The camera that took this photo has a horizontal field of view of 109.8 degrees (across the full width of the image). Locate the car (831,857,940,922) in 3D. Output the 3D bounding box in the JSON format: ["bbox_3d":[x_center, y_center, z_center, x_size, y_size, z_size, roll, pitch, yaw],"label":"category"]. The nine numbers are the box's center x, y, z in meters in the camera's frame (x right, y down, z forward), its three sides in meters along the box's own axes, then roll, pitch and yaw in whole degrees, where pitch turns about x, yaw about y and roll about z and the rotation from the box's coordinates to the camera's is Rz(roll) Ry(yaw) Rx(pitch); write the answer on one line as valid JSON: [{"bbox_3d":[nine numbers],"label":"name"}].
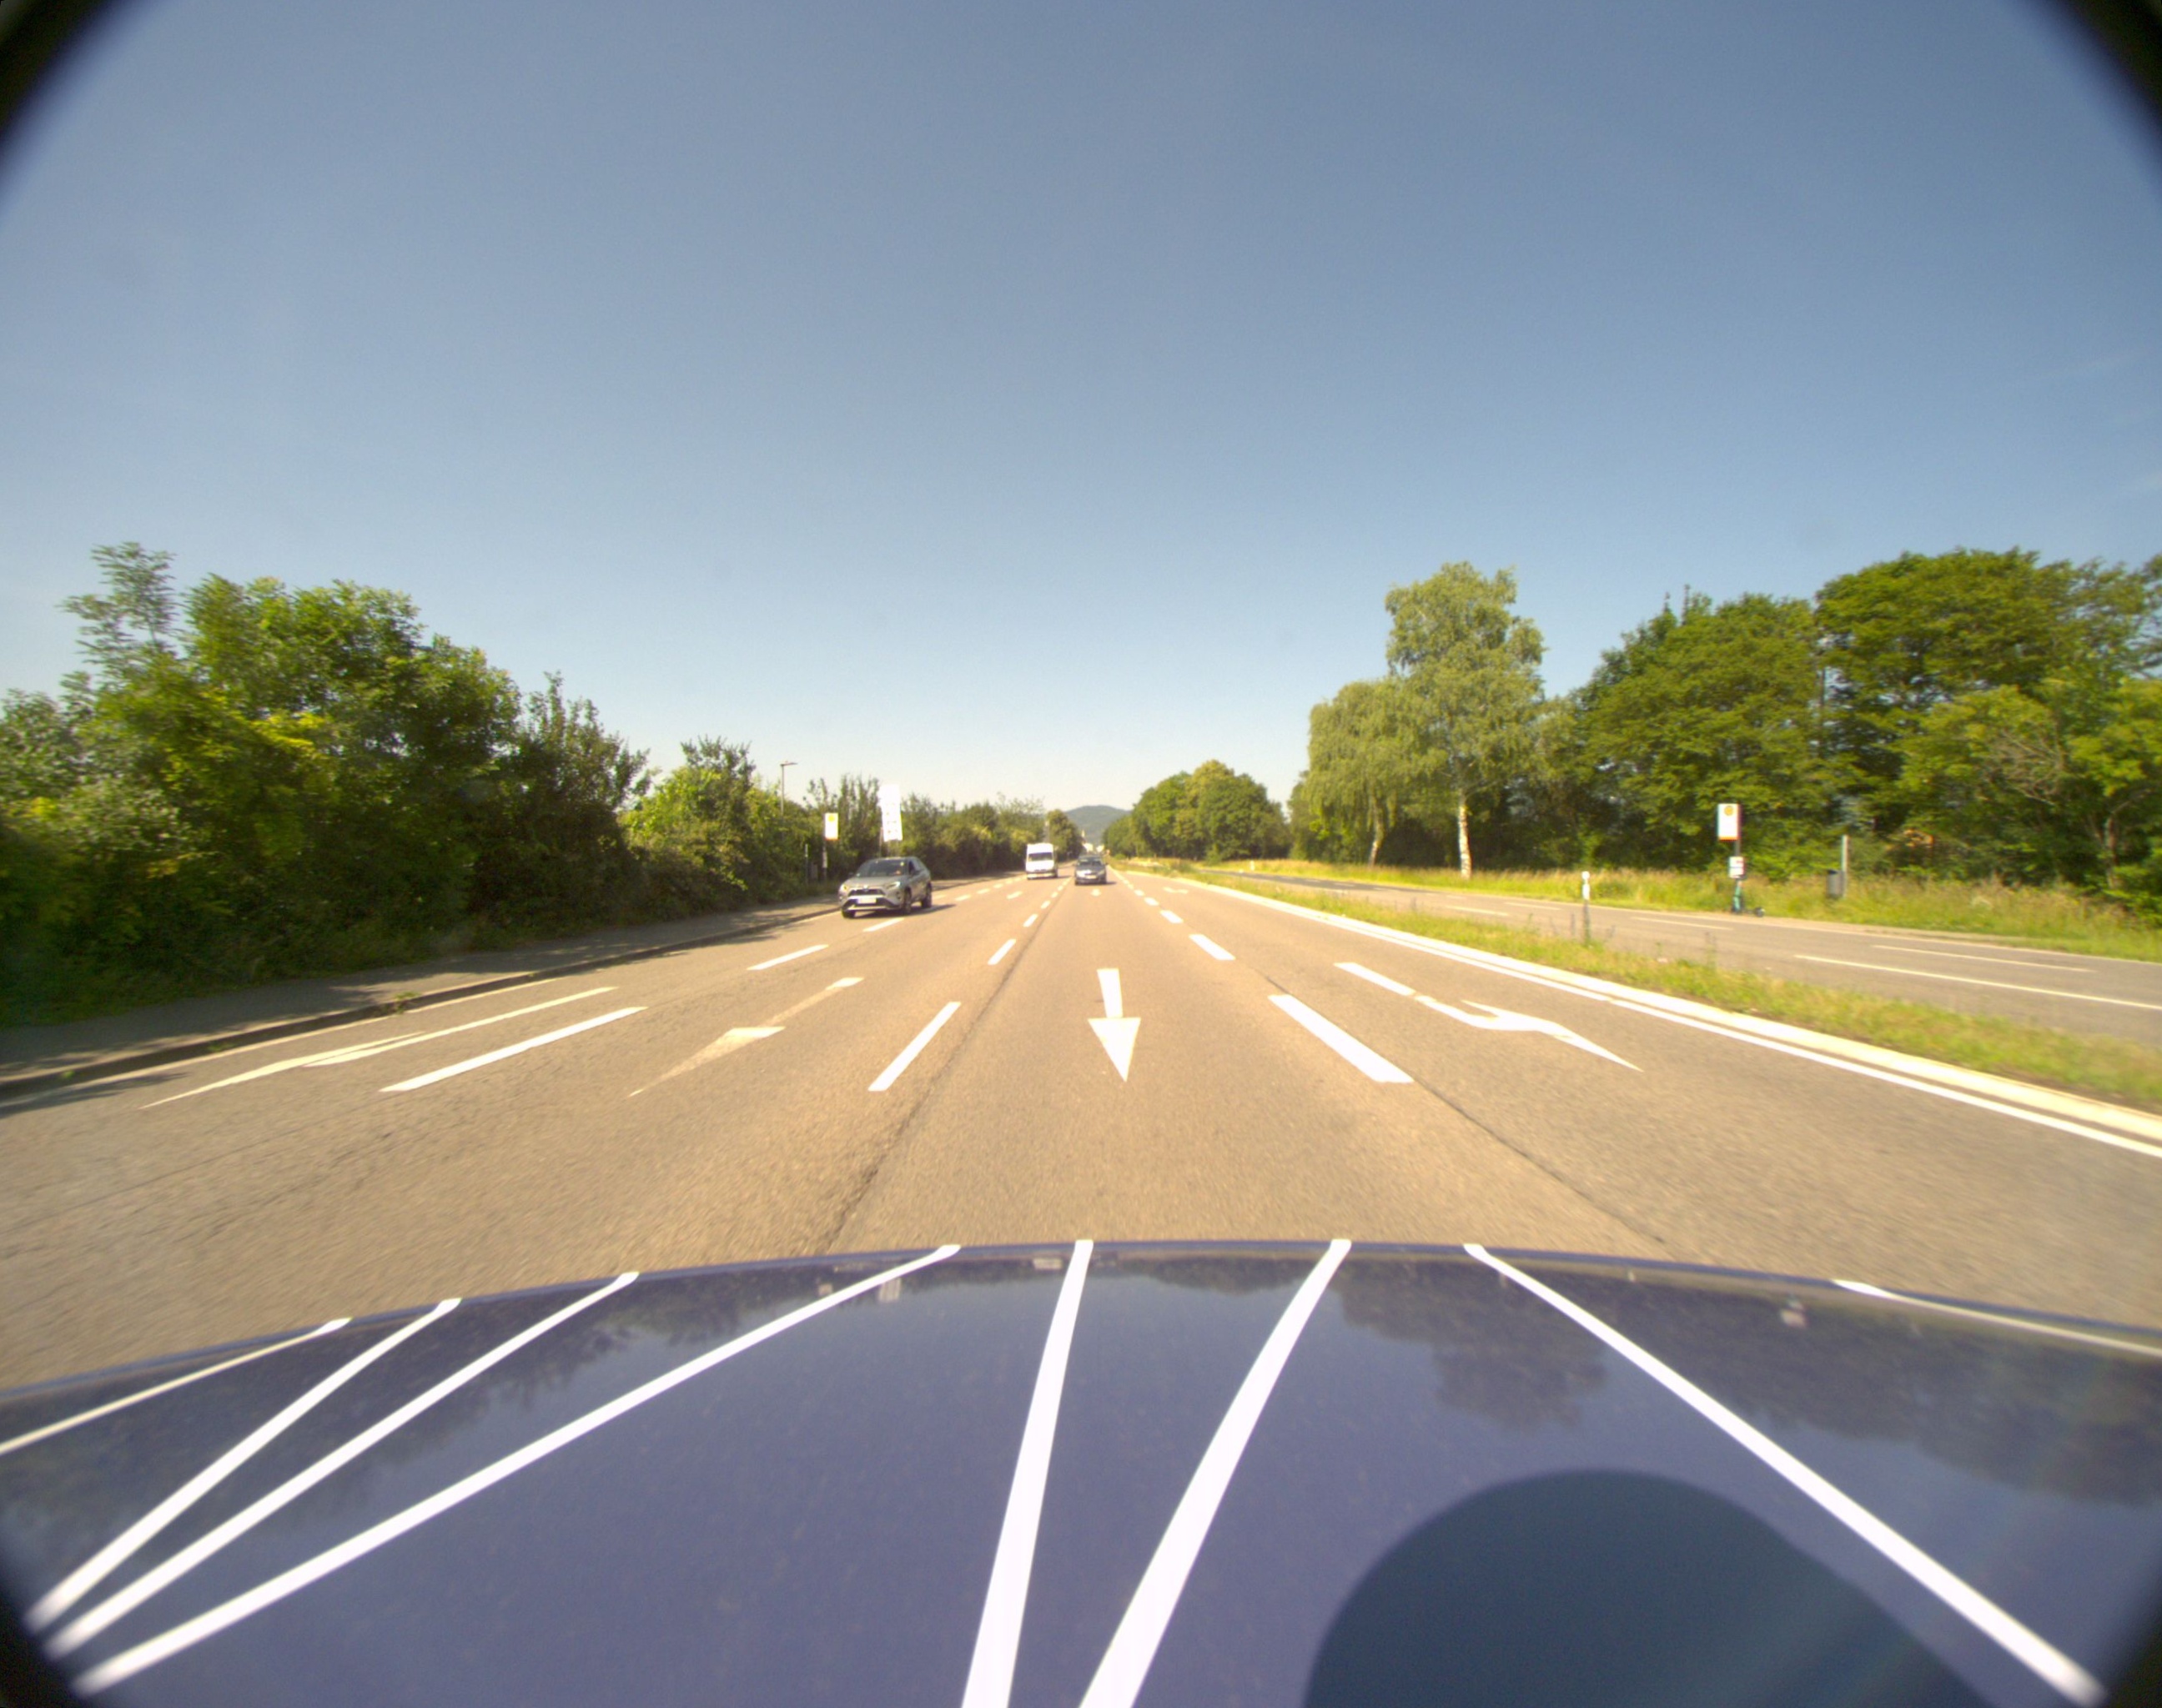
[{"bbox_3d":[-5.739,0.976,22.988,1.906,1.670,4.683,-3,0,1],"label":"car"}]

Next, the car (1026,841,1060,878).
[{"bbox_3d":[-2.612,0.341,53.694,1.998,2.432,5.088,-1,1,1],"label":"car"}]

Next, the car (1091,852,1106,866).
[{"bbox_3d":[1.955,0.570,86.742,1.678,1.435,3.622,-1,1,1],"label":"car"}]

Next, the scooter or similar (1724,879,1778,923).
[{"bbox_3d":[19.548,1.364,22.191,0.369,1.179,1.340,2,1,1],"label":"scooter or similar"}]

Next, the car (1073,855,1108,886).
[{"bbox_3d":[0.518,0.826,39.695,1.678,1.435,4.361,-1,1,1],"label":"car"}]
